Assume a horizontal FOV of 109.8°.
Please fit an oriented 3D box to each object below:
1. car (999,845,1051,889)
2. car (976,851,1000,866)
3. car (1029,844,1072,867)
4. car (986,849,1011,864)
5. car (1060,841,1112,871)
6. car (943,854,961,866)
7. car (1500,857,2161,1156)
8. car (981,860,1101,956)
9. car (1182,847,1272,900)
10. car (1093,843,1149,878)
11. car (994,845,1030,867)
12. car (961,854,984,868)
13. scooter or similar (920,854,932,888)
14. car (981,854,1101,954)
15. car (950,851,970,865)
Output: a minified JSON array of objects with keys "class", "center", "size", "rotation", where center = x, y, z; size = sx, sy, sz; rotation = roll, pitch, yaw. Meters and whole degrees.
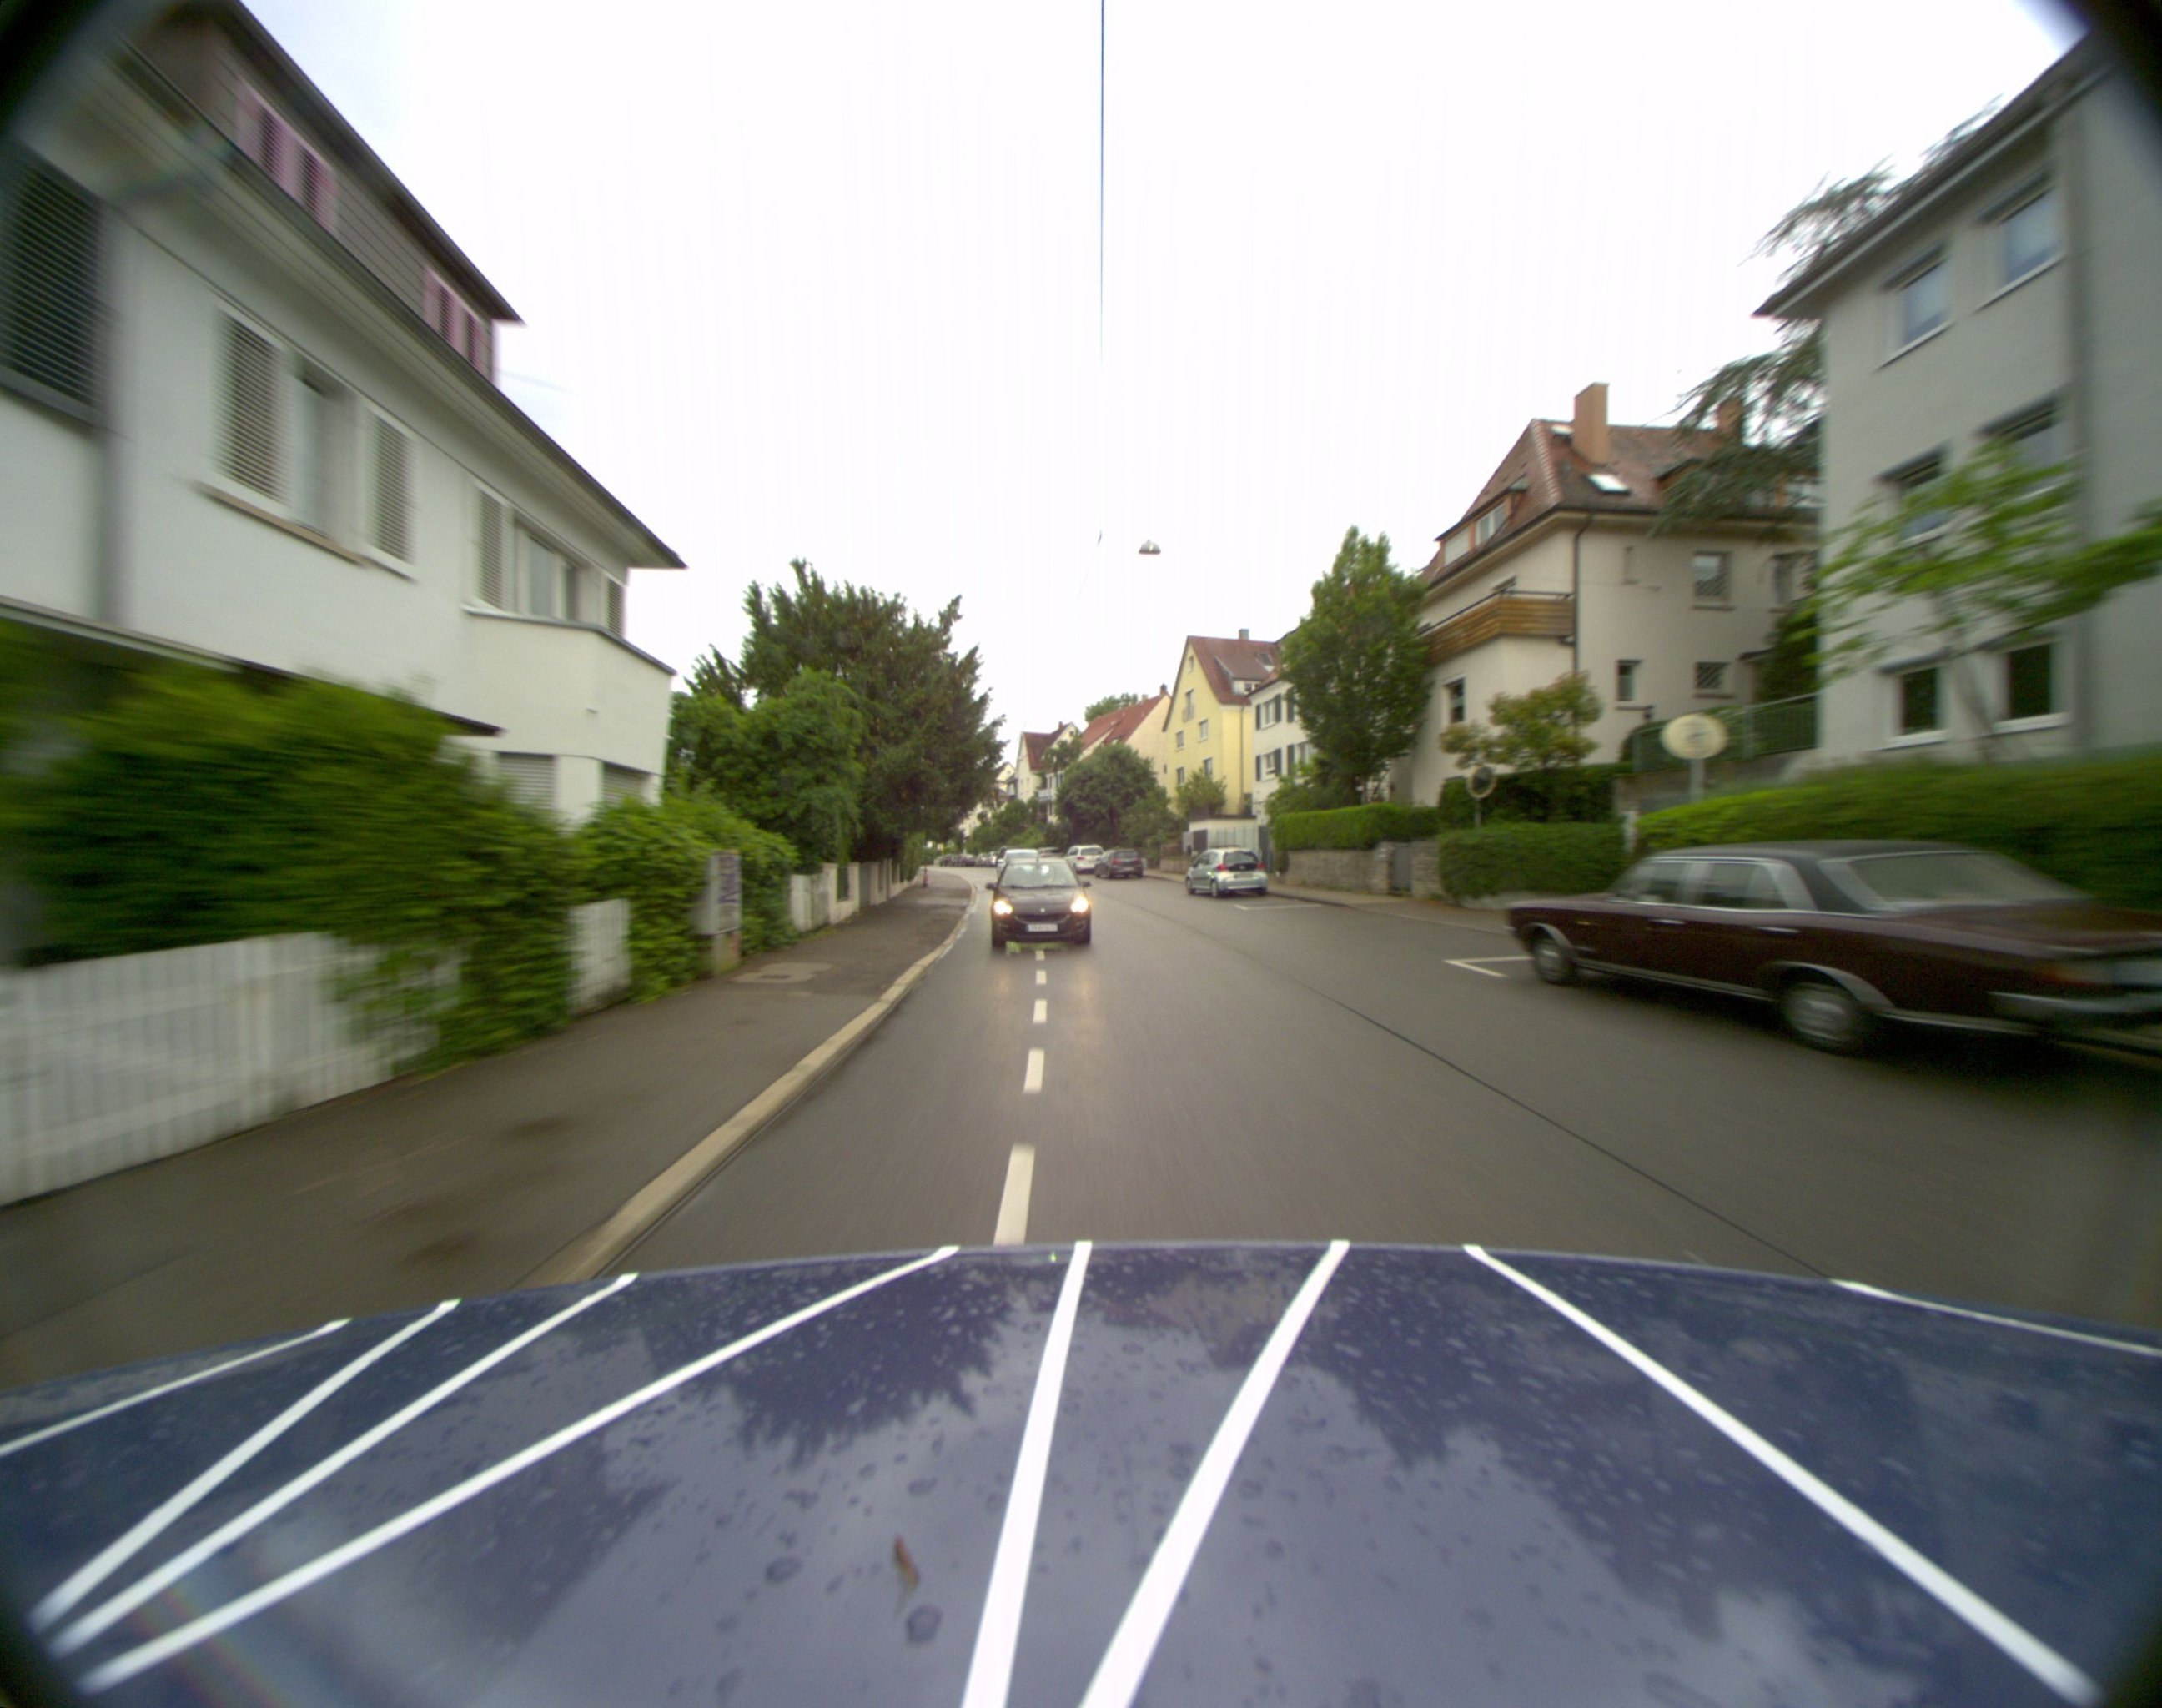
[{"class":"car","center":[-2.442,0.508,32.255],"size":[1.867,1.704,3.997],"rotation":[-2,0,-9]},{"class":"car","center":[-9.852,0.449,80.279],"size":[1.653,1.438,3.623],"rotation":[-2,-2,-20]},{"class":"car","center":[-2.338,0.114,57.025],"size":[2.001,1.571,4.754],"rotation":[-4,1,-16]},{"class":"car","center":[-8.183,0.239,75.037],"size":[1.701,1.438,3.807],"rotation":[-1,0,-18]},{"class":"car","center":[0.233,0.121,47.116],"size":[2.001,1.692,4.732],"rotation":[-4,1,-14]},{"class":"car","center":[-17.021,0.754,100.200],"size":[1.901,1.438,3.809],"rotation":[-2,-2,-17]},{"class":"car","center":[5.623,0.765,6.133],"size":[1.648,1.409,4.610],"rotation":[-2,0,-4]},{"class":"car","center":[-0.877,0.857,13.944],"size":[1.712,1.414,3.996],"rotation":[-2,0,-10]},{"class":"car","center":[4.494,0.551,23.896],"size":[1.610,1.477,3.483],"rotation":[-2,1,-10]},{"class":"car","center":[1.979,0.314,38.833],"size":[1.798,1.571,4.134],"rotation":[-4,1,-12]},{"class":"car","center":[-6.321,0.183,68.940],"size":[2.001,1.867,5.348],"rotation":[-2,0,-18]},{"class":"car","center":[-12.468,0.811,87.407],"size":[1.763,1.438,4.410],"rotation":[-2,-2,-20]},{"class":"scooter or similar","center":[-6.116,0.669,30.014],"size":[0.451,1.300,1.480],"rotation":[0,1,-10]},{"class":"car","center":[-0.881,0.857,13.919],"size":[1.697,1.482,3.938],"rotation":[-3,-2,-9]},{"class":"car","center":[-14.883,0.500,93.631],"size":[1.703,1.532,3.807],"rotation":[-2,0,-20]}]
